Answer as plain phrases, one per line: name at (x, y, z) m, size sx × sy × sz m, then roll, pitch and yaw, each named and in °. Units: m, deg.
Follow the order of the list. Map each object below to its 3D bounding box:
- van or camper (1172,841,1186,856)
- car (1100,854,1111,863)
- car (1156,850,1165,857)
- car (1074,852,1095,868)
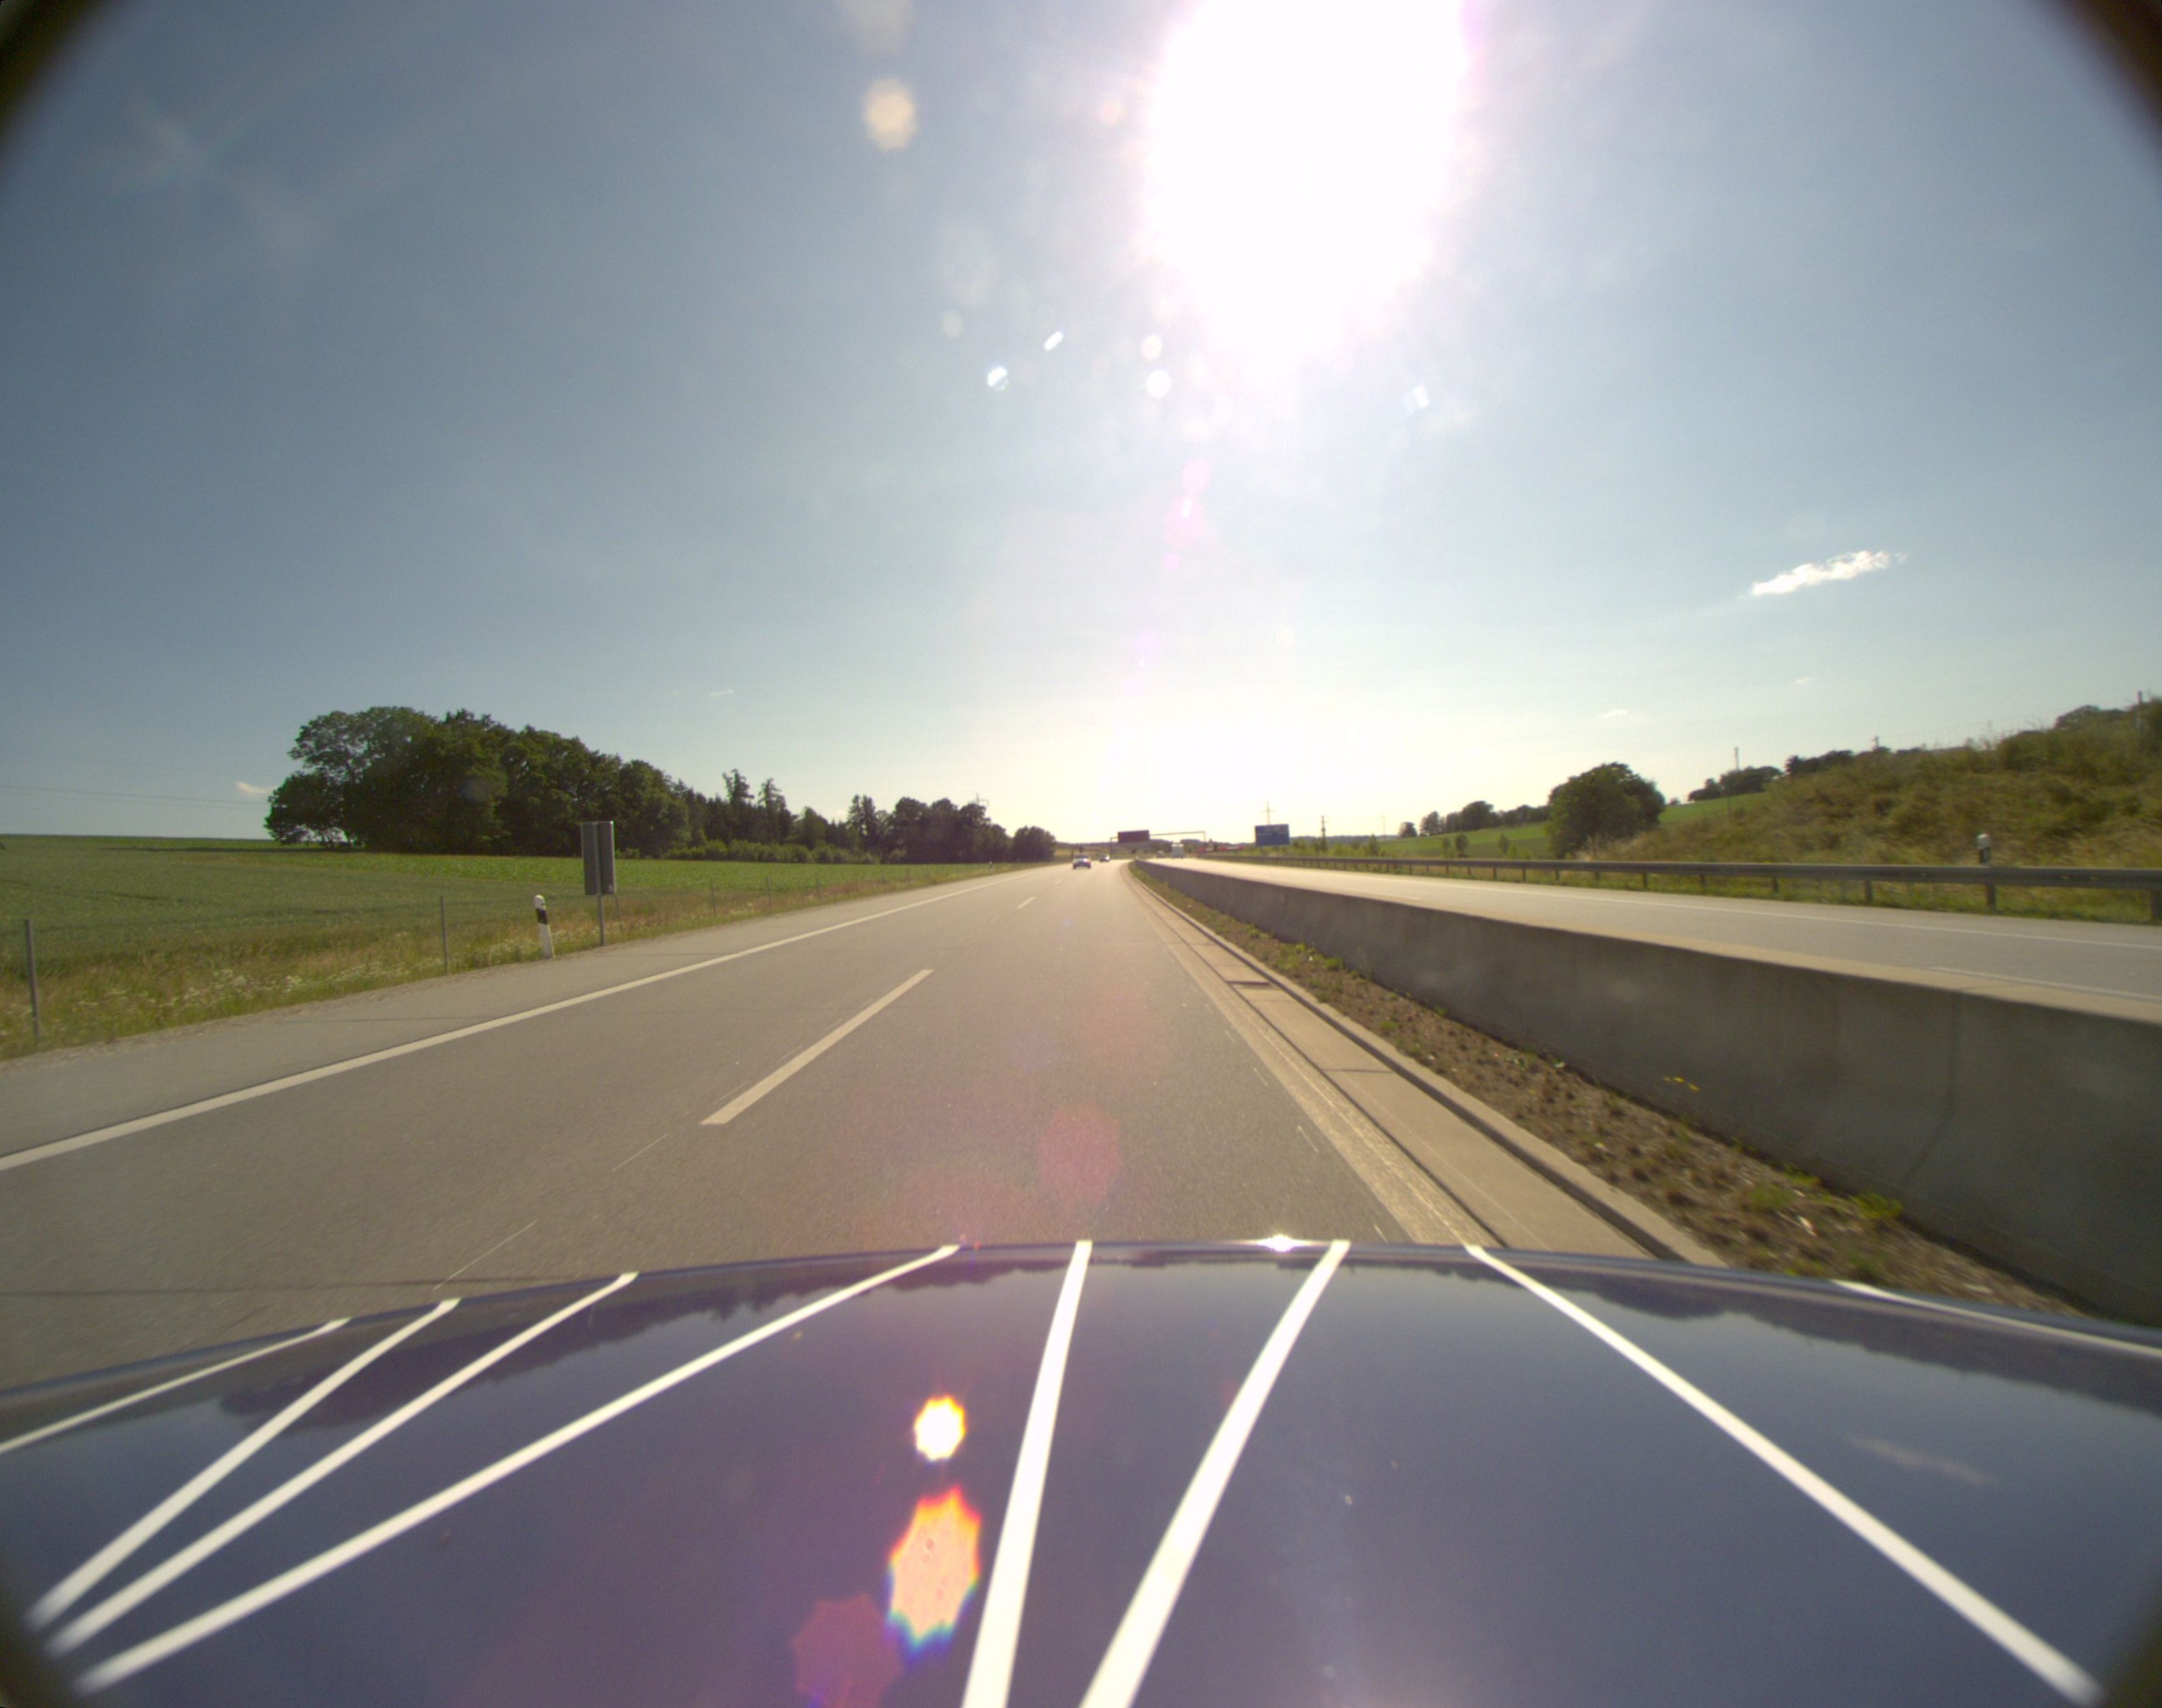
van or camper at (20.757, -1.132, 160.789) m, size 2.596 × 3.062 × 7.440 m, roll -1°, pitch 0°, yaw 5°
car at (4.517, 0.814, 137.942) m, size 1.891 × 1.565 × 3.793 m, roll 0°, pitch 0°, yaw 4°
car at (19.580, -0.171, 187.268) m, size 1.991 × 1.699 × 4.347 m, roll 0°, pitch 0°, yaw 3°
car at (0.391, 0.616, 80.715) m, size 1.891 × 1.565 × 3.793 m, roll -1°, pitch 0°, yaw 4°
